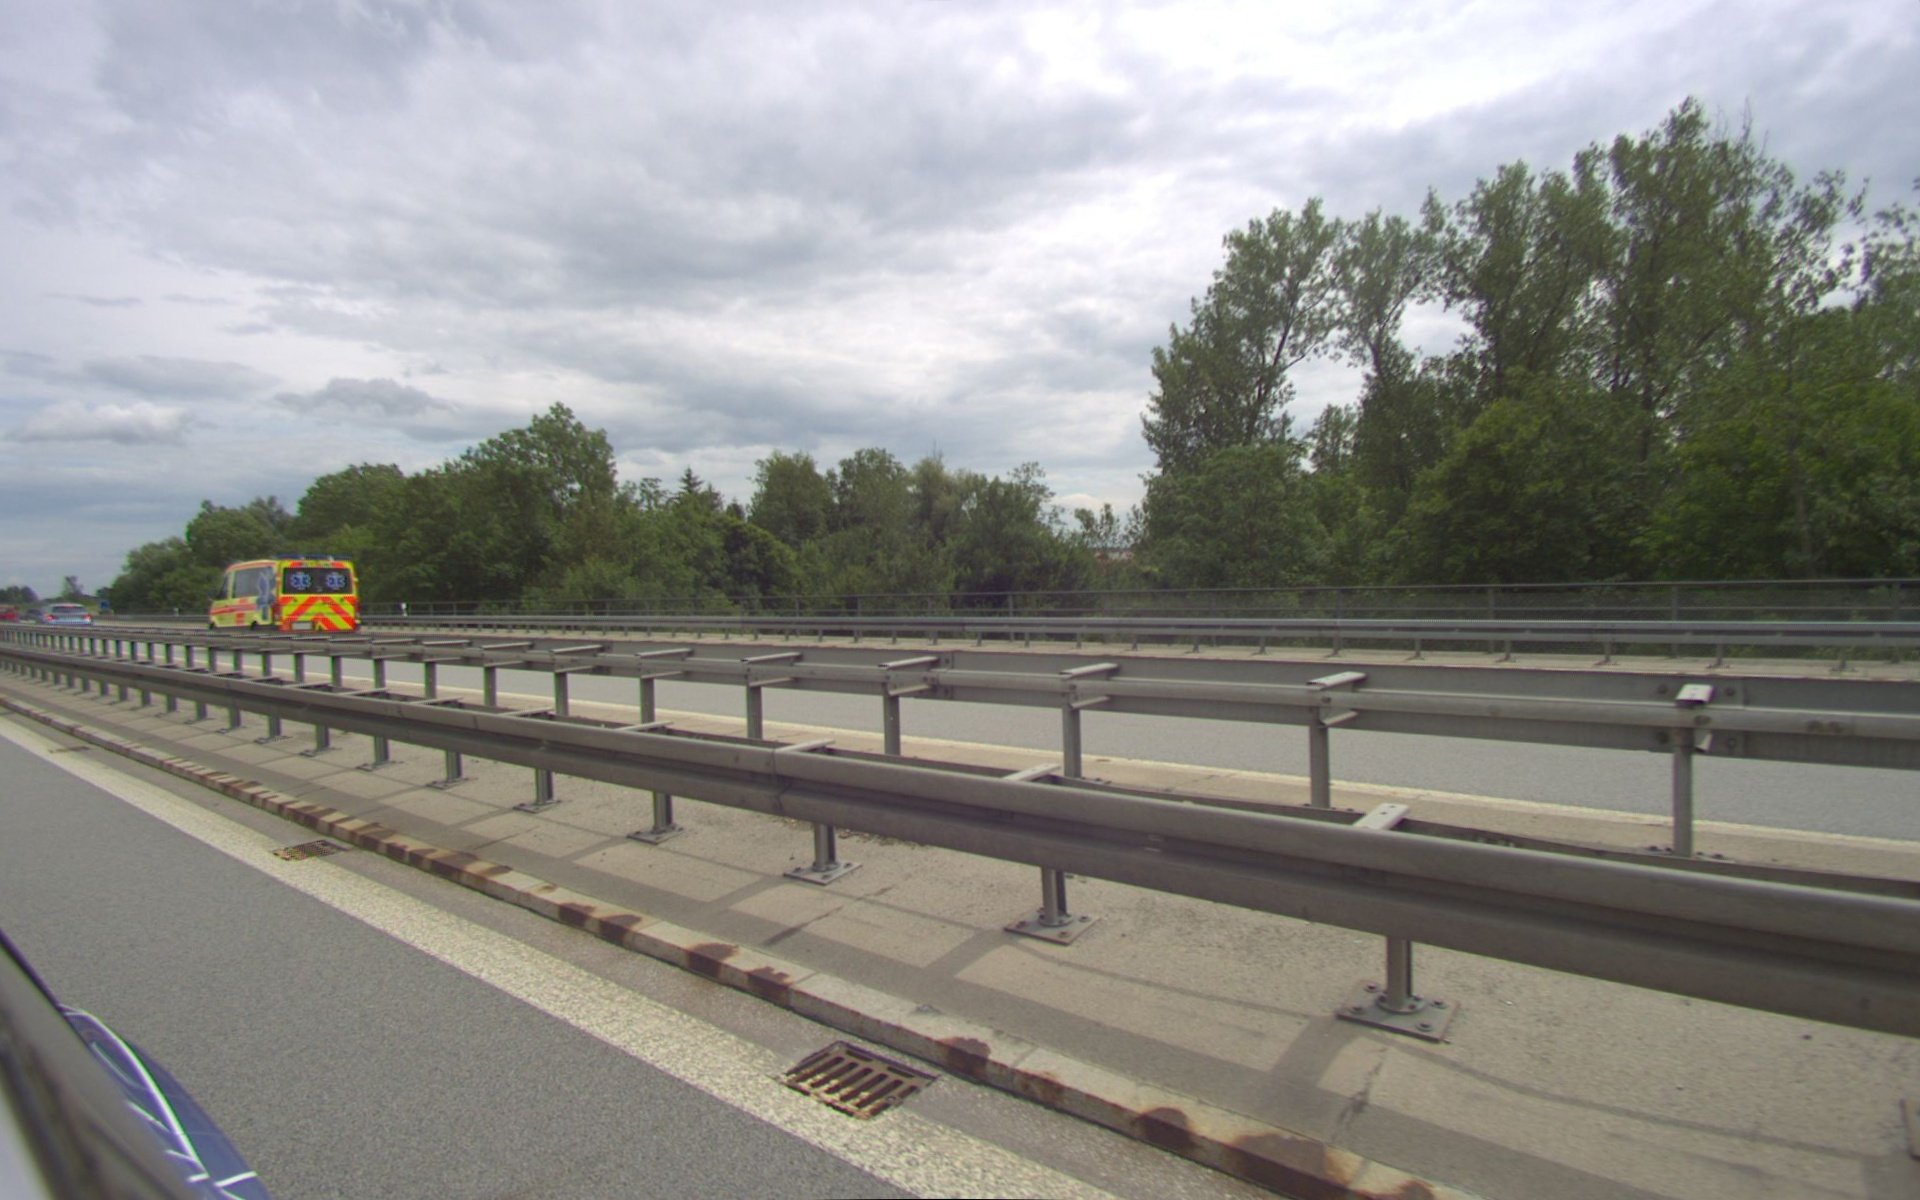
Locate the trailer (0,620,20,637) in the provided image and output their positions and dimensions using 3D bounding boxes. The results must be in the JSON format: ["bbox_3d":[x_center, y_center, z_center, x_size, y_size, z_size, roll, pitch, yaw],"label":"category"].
[{"bbox_3d":[-67.575,2.017,71.348,3.449,1.133,1.542,-1,-1,42],"label":"trailer"}]

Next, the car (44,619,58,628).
[{"bbox_3d":[-156.859,4.045,174.591,1.671,1.447,4.116,-2,0,-41],"label":"car"}]

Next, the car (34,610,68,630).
[{"bbox_3d":[-78.190,1.733,87.022,4.567,1.653,1.692,-1,0,42],"label":"car"}]

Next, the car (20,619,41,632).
[{"bbox_3d":[-133.247,3.667,145.084,4.227,1.758,1.971,-1,0,45],"label":"car"}]

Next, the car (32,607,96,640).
[{"bbox_3d":[-41.554,1.073,46.915,4.248,1.416,1.710,-1,0,42],"label":"car"}]

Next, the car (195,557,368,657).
[{"bbox_3d":[-17.701,0.191,26.232,6.392,2.310,1.974,-1,0,40],"label":"car"}]

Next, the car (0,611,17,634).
[{"bbox_3d":[-70.511,1.647,74.005,4.567,1.653,1.794,-1,0,42],"label":"car"}]
